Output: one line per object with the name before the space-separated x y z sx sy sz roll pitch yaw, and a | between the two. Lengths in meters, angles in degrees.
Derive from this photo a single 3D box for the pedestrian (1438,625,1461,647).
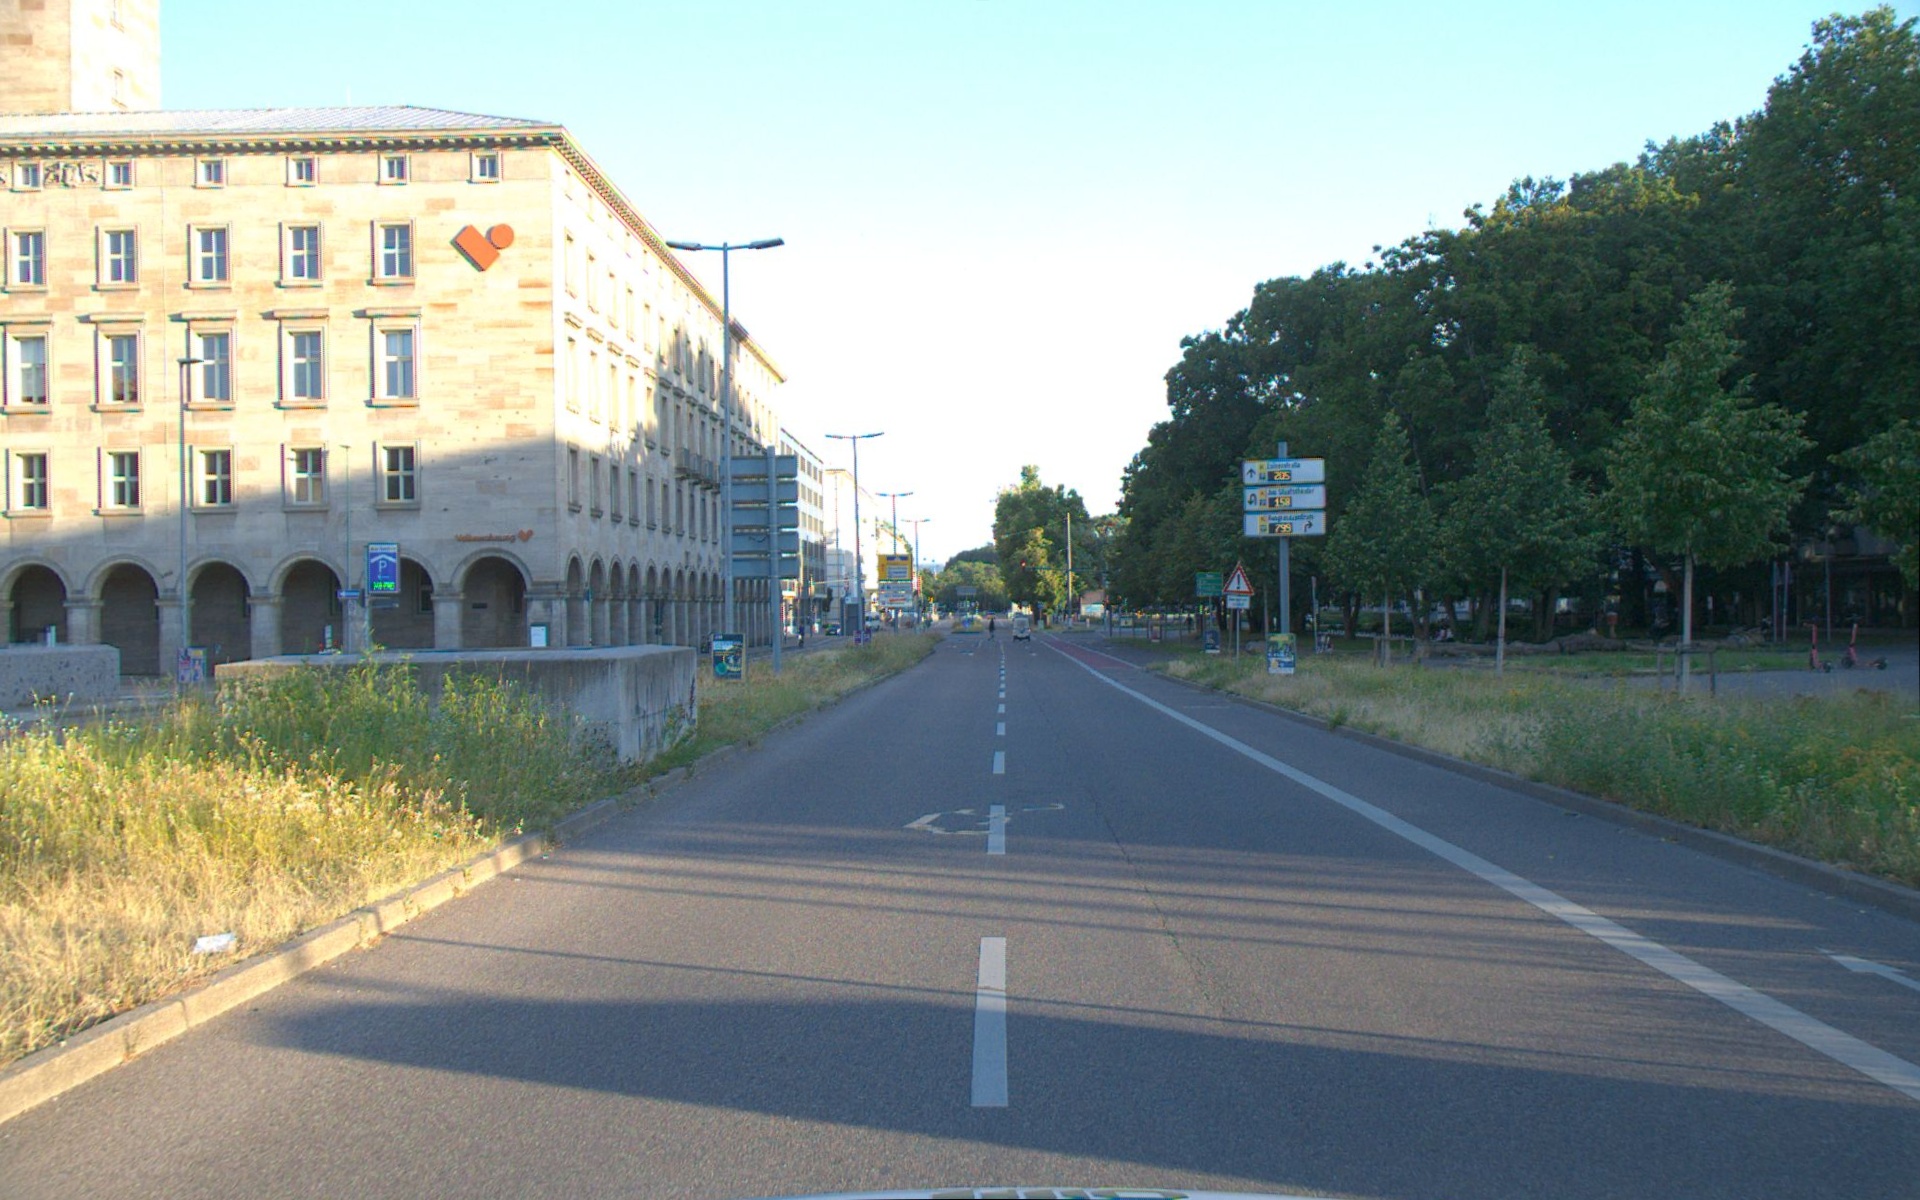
pedestrian | 20.686 1.503 69.848 0.669 0.900 0.619 -1 -1 -22

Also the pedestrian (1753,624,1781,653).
pedestrian | 34.392 1.633 70.468 0.771 1.184 0.766 -1 -1 -5

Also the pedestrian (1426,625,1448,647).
pedestrian | 20.295 1.526 70.409 0.670 0.900 0.589 -1 -1 -24

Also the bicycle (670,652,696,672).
bicycle | -15.064 3.391 89.959 0.467 1.023 2.005 -2 -1 19

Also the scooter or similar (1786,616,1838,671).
scooter or similar | 19.739 1.000 38.342 0.415 1.241 1.399 -4 -1 1

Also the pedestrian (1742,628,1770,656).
pedestrian | 34.343 1.805 71.332 0.771 1.184 0.766 -1 -1 -5

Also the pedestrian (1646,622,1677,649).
pedestrian | 34.310 1.751 80.921 1.108 1.282 0.906 -2 -1 3

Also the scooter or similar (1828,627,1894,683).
scooter or similar | 20.904 1.269 38.405 0.464 1.241 1.572 -4 -1 -6

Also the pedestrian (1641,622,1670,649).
pedestrian | 34.422 1.756 81.870 1.108 1.282 0.726 -2 -1 3

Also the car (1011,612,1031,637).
car | 4.641 1.865 125.398 1.429 1.812 2.565 -1 -1 3

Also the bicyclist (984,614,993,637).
bicyclist | 2.183 1.978 126.782 0.615 1.723 0.748 -2 -2 0
